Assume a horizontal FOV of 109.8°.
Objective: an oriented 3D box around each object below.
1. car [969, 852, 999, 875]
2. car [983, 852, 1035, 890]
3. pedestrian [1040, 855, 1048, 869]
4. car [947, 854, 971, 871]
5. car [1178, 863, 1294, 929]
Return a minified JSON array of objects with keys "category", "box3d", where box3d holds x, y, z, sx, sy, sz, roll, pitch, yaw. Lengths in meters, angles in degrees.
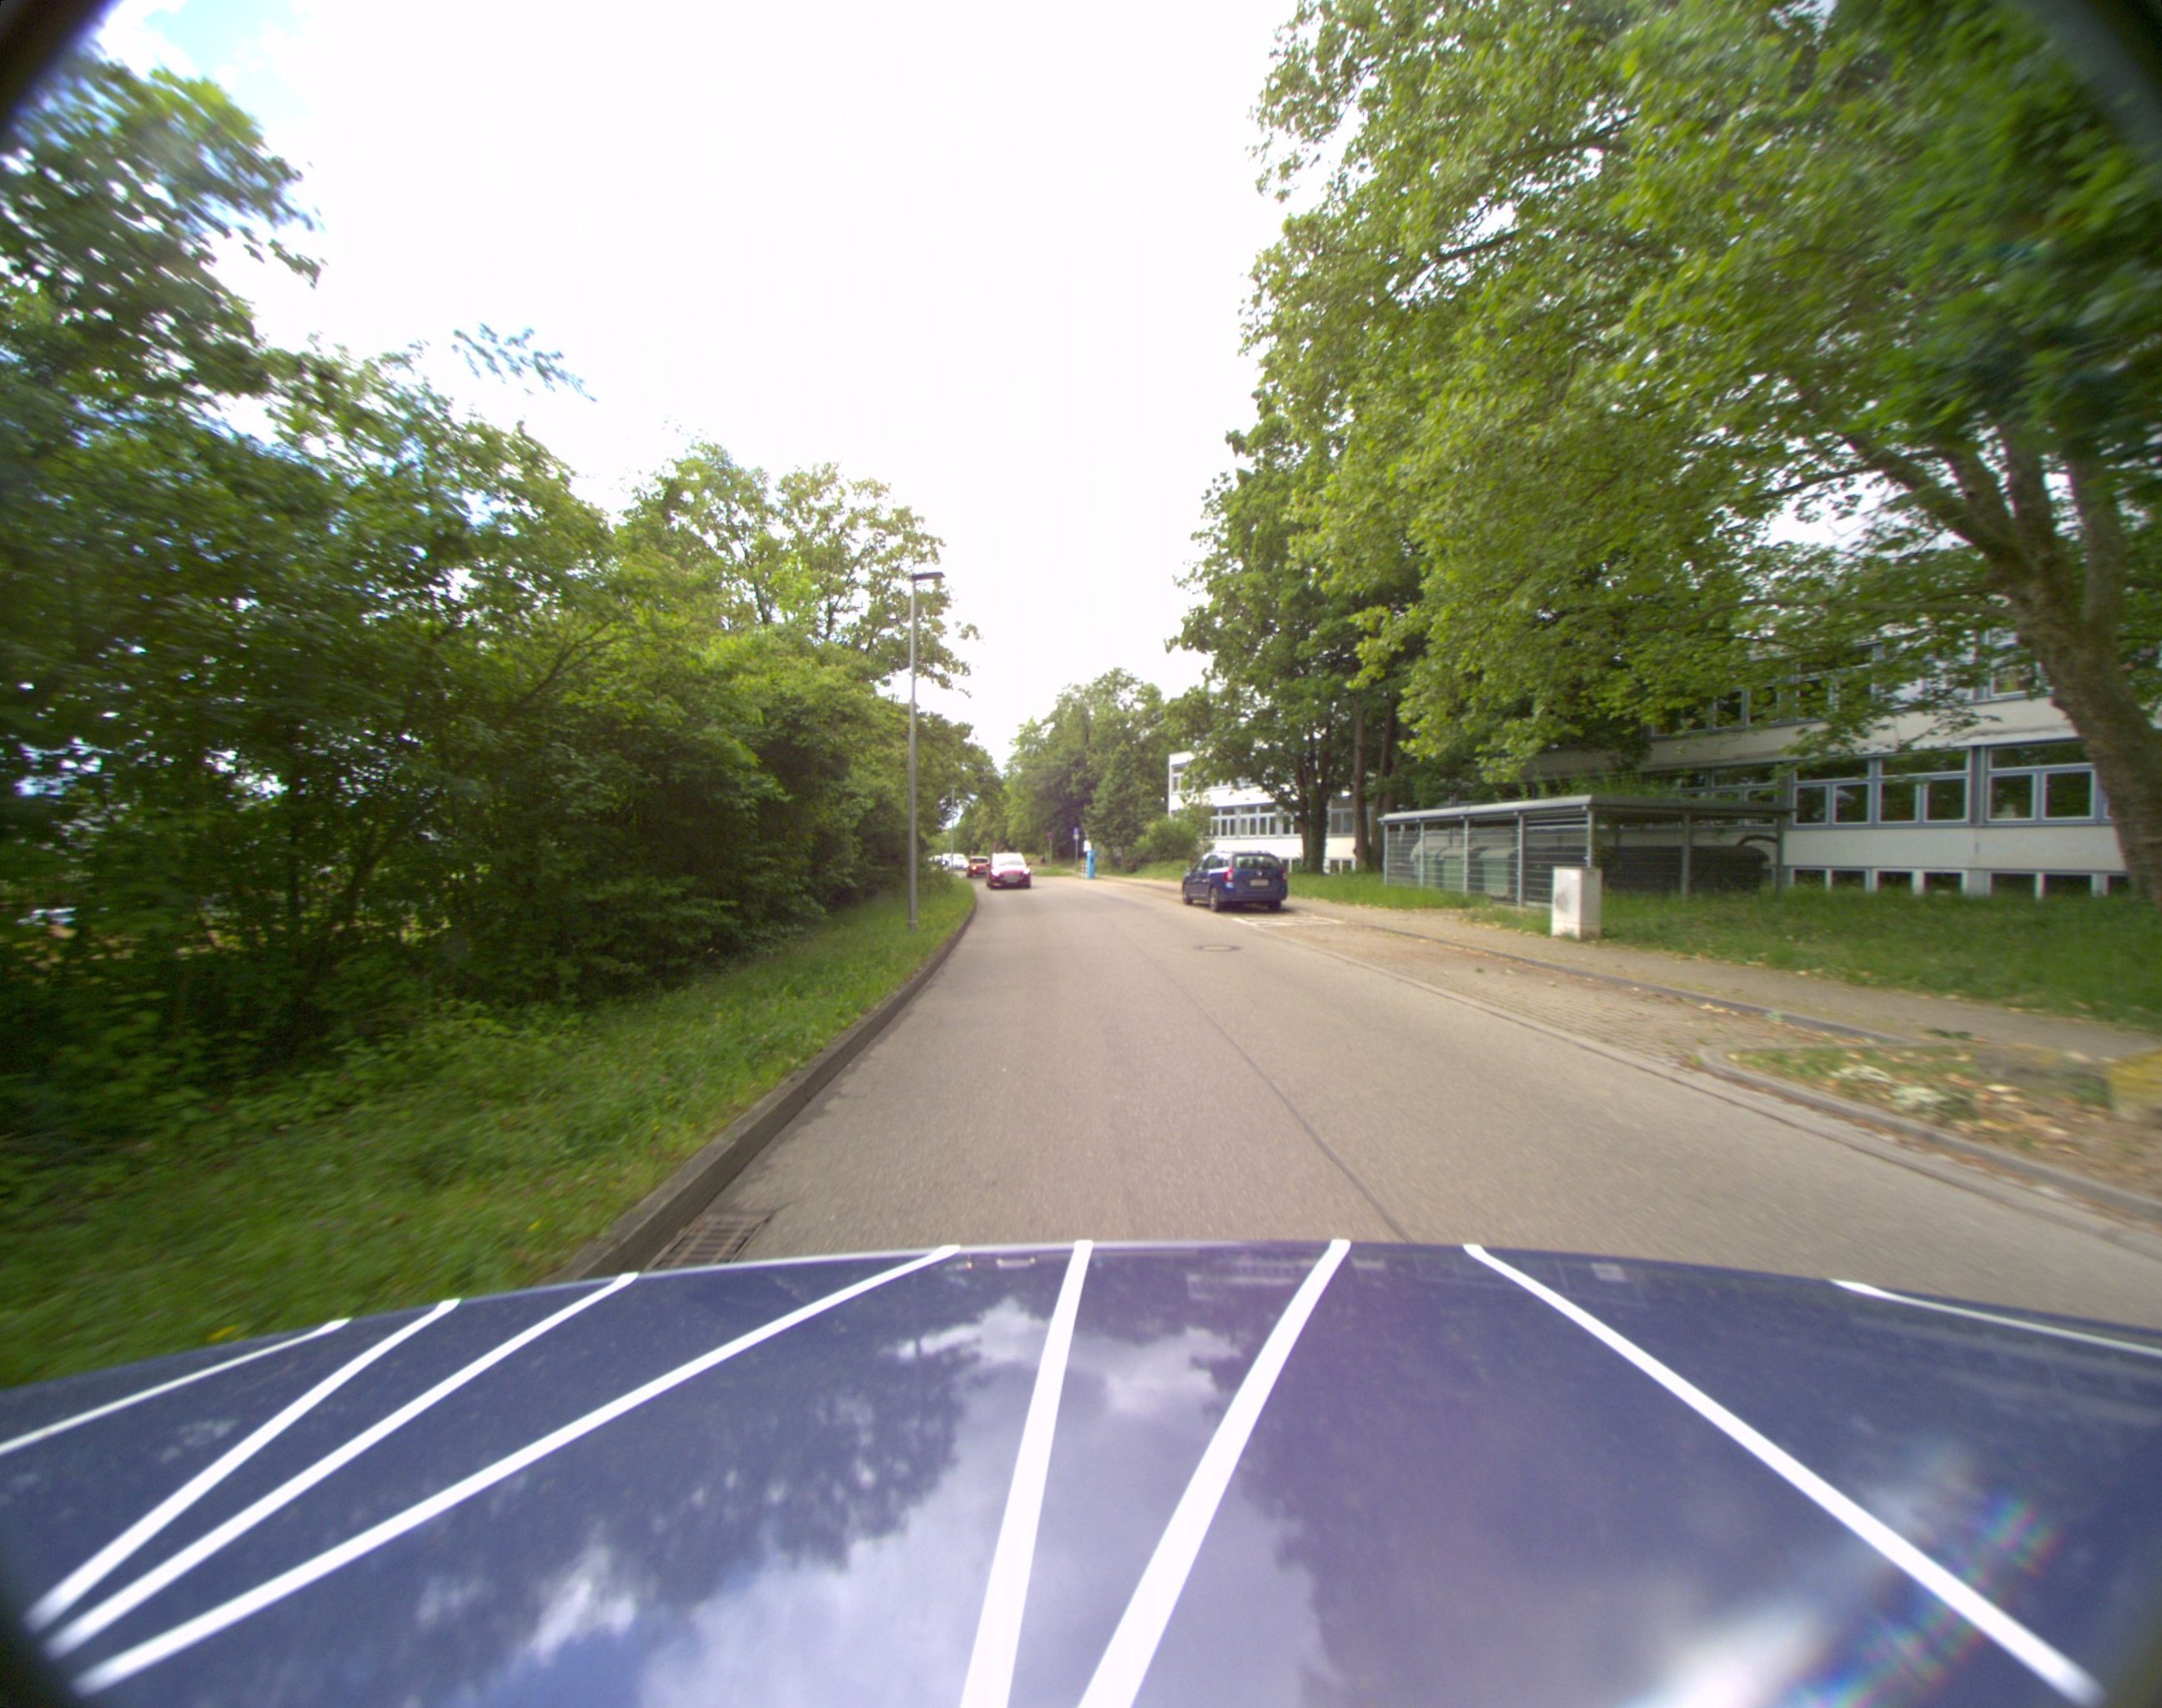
[{"category":"car","box3d":[-6.908,0.683,53.807,2.000,1.564,3.997,1,-1,-8]},{"category":"car","box3d":[-3.490,0.766,35.989,1.863,1.608,4.471,-2,0,-13]},{"category":"pedestrian","box3d":[-4.472,0.970,90.876,0.762,1.652,0.808,1,0,-15]},{"category":"car","box3d":[-11.647,0.822,72.561,1.922,1.587,3.893,1,-1,-14]},{"category":"car","box3d":[3.934,1.001,20.081,1.685,1.503,4.428,0,0,-7]}]
